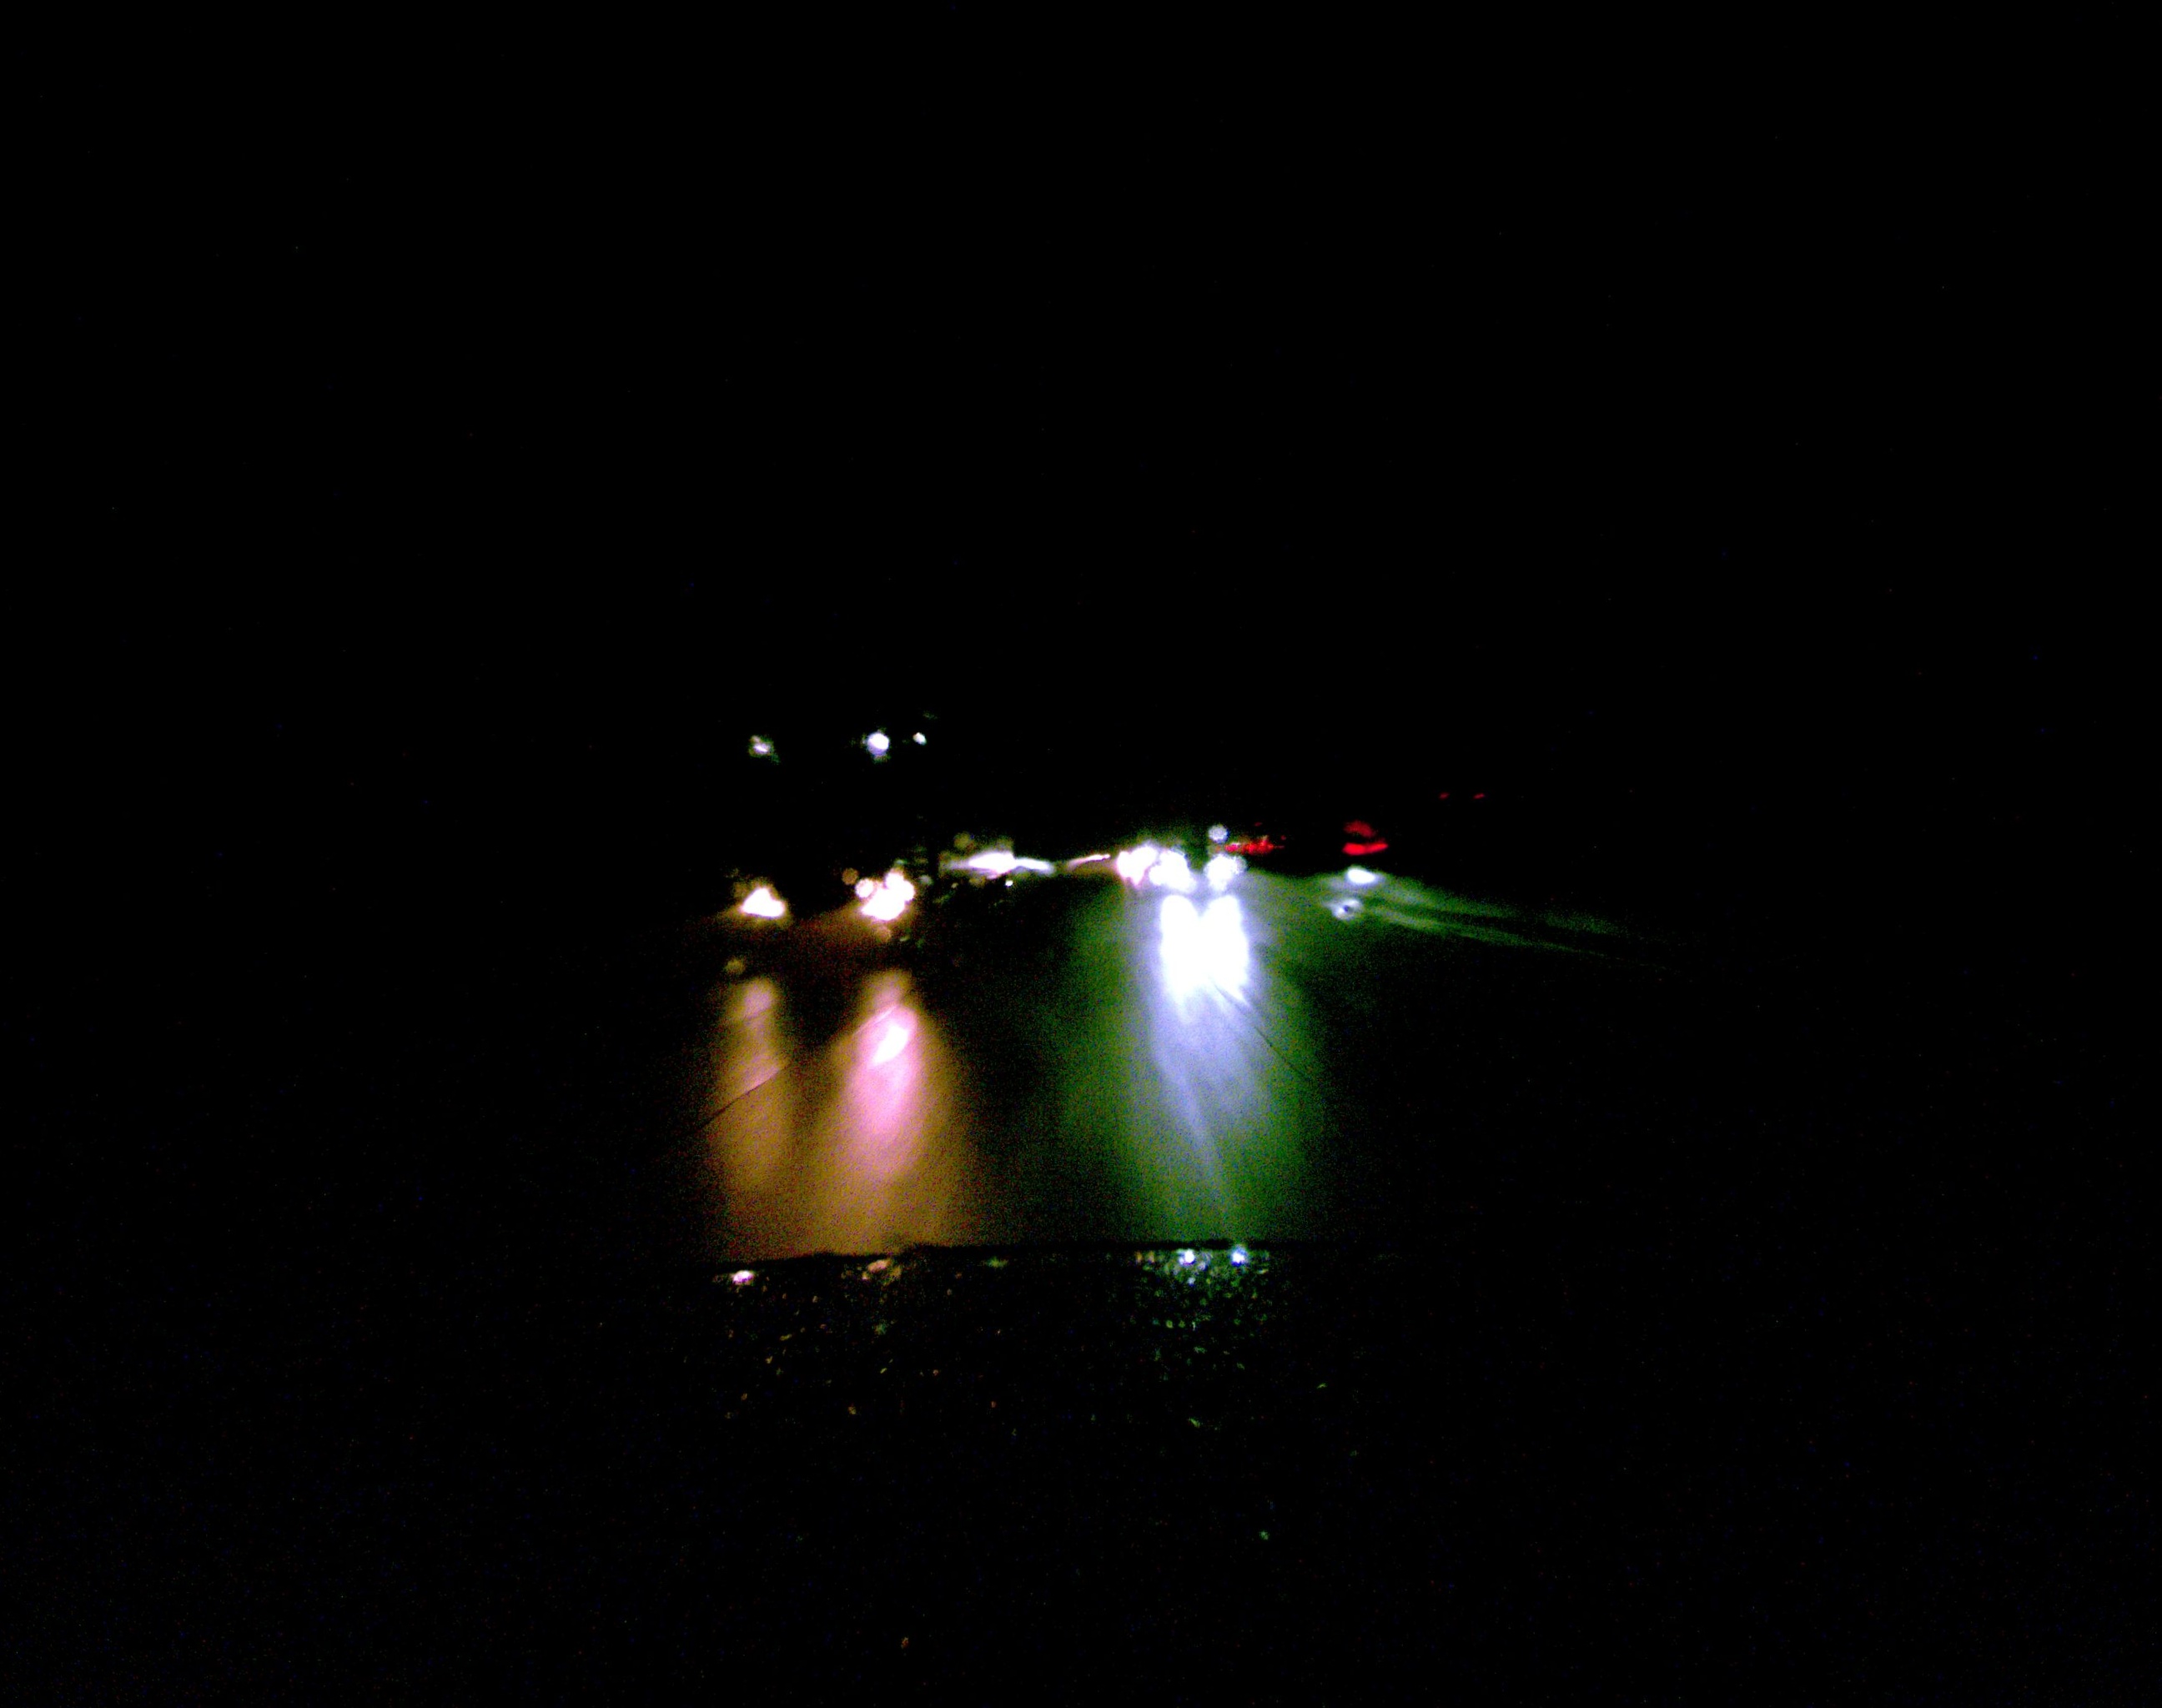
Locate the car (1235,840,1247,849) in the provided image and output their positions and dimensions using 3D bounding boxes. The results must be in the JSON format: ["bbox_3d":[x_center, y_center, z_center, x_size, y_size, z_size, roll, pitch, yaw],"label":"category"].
[{"bbox_3d":[30.557,-1.871,145.331,1.880,1.618,4.001,-2,0,6],"label":"car"}]

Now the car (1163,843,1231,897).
[{"bbox_3d":[4.474,0.539,30.088,2.141,1.873,5.556,-2,1,4],"label":"car"}]

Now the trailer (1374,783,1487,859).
[{"bbox_3d":[25.819,-2.260,57.213,2.780,4.946,14.108,-2,1,4],"label":"trailer"}]

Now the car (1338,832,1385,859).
[{"bbox_3d":[18.249,-0.567,49.648,1.784,1.638,3.865,-2,0,3],"label":"car"}]

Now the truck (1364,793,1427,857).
[{"bbox_3d":[26.262,-2.344,63.749,2.780,4.947,6.717,-2,1,4],"label":"truck"}]

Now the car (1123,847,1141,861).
[{"bbox_3d":[6.008,0.007,89.144,1.998,1.553,4.646,-2,1,4],"label":"car"}]

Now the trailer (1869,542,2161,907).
[{"bbox_3d":[18.814,-2.090,9.671,2.916,5.860,14.170,-2,1,1],"label":"trailer"}]

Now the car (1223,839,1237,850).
[{"bbox_3d":[23.047,-1.524,117.633,1.880,1.618,4.001,-2,0,6],"label":"car"}]

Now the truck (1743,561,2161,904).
[{"bbox_3d":[18.927,-2.158,16.589,2.911,5.861,6.878,-2,1,1],"label":"truck"}]

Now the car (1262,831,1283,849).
[{"bbox_3d":[28.495,-2.073,112.981,2.178,2.427,4.938,-2,1,5],"label":"car"}]

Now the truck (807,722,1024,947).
[{"bbox_3d":[-3.701,-0.441,21.435,2.503,4.223,13.642,-2,1,2],"label":"truck"}]

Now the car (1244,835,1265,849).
[{"bbox_3d":[23.110,-1.592,101.310,1.998,1.749,4.000,-2,0,3],"label":"car"}]

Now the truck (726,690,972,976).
[{"bbox_3d":[-3.933,-0.341,14.488,2.503,4.223,5.982,-2,1,2],"label":"truck"}]
